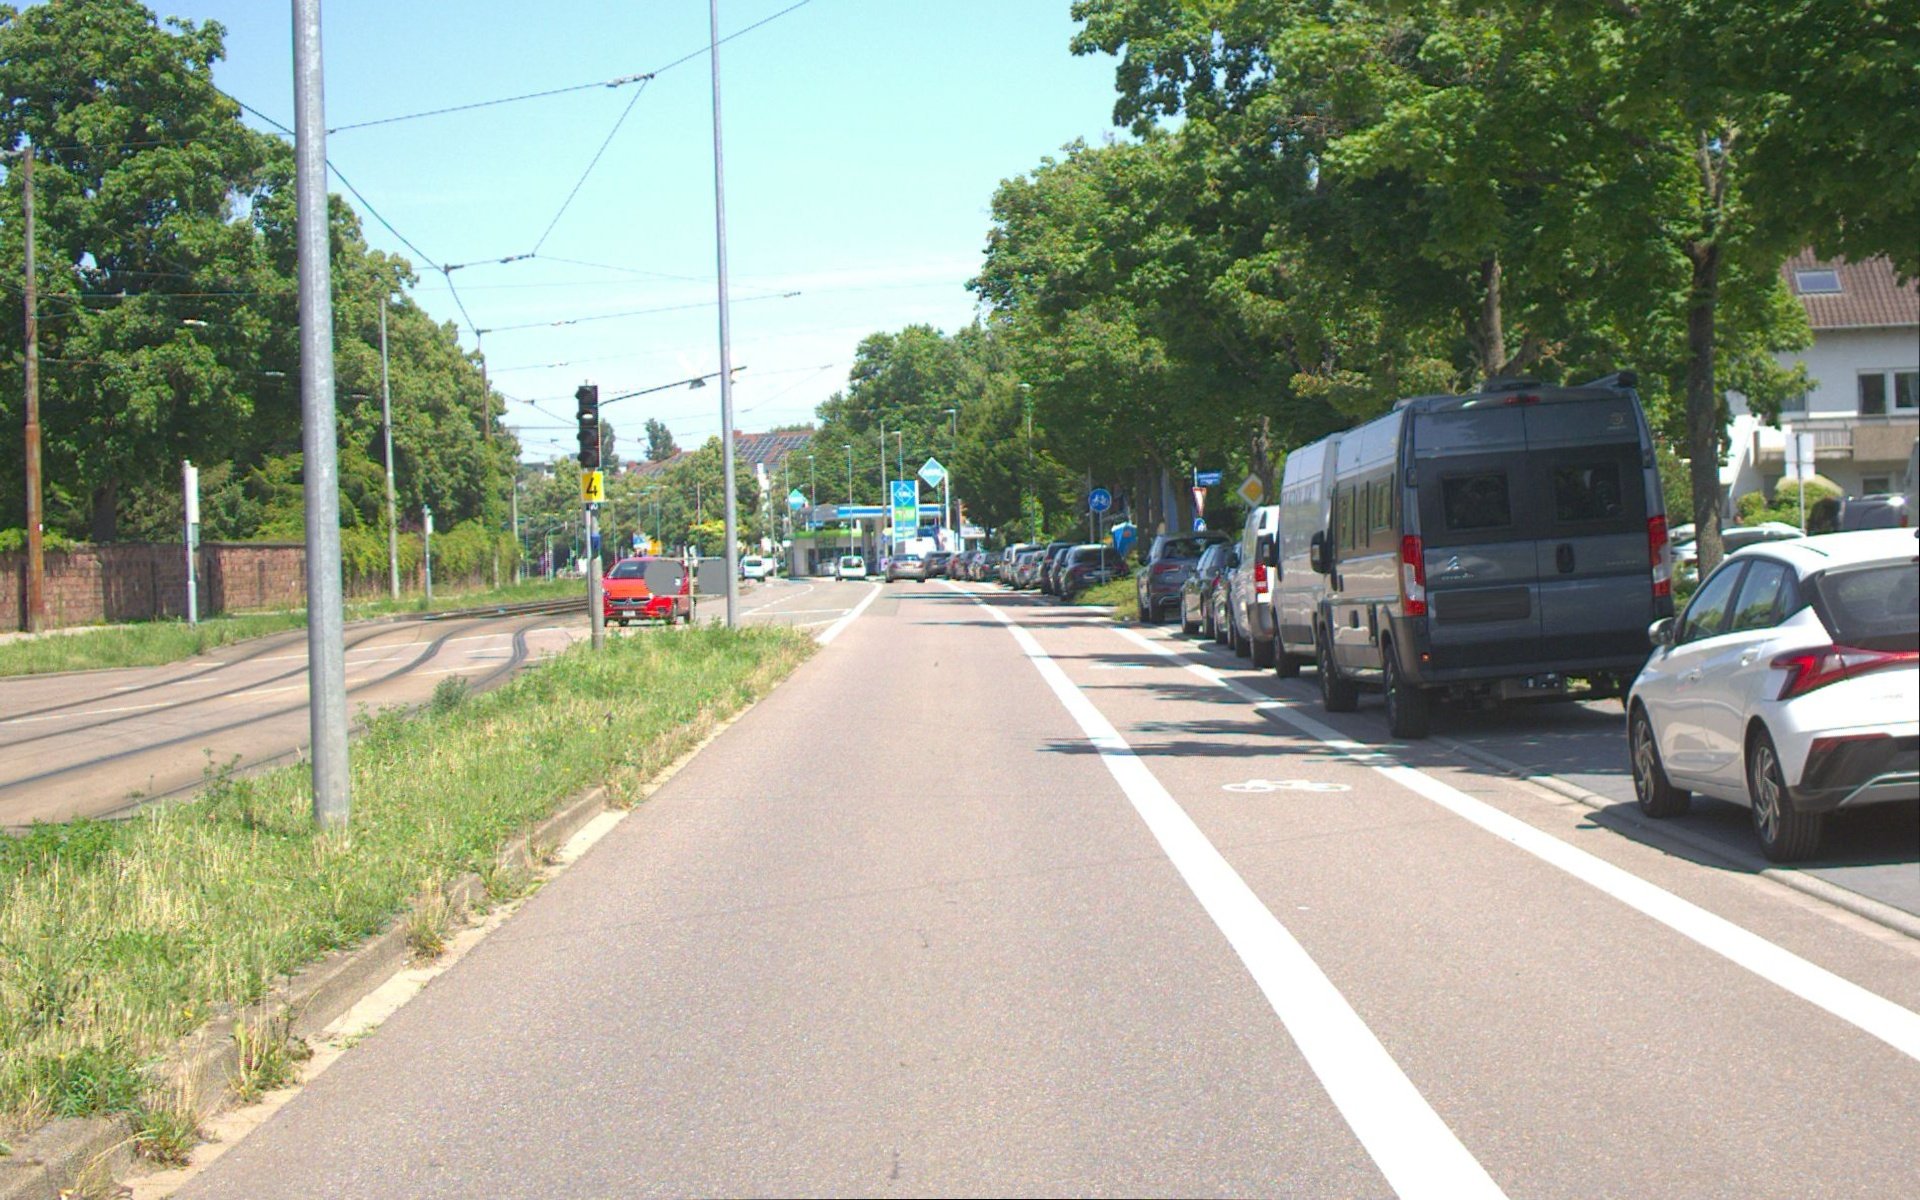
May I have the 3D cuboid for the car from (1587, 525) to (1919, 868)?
[{"bbox_3d":[4.417,0.378,17.129,1.722,1.423,4.209,-4,1,0],"label":"car"}]

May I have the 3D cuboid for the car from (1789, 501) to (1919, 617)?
[{"bbox_3d":[14.708,-0.579,50.261,4.692,1.638,1.954,1,1,0],"label":"car"}]

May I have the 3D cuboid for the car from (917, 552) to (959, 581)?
[{"bbox_3d":[-1.339,-2.008,205.865,1.755,1.625,4.325,-4,1,-10],"label":"car"}]

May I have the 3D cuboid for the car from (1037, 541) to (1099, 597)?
[{"bbox_3d":[3.562,-1.050,113.873,1.841,1.700,4.626,-4,1,1],"label":"car"}]

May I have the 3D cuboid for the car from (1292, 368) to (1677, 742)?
[{"bbox_3d":[4.162,-0.381,28.389,1.997,2.627,6.079,-4,1,-1],"label":"car"}]

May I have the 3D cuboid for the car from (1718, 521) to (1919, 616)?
[{"bbox_3d":[14.492,-0.508,55.623,4.021,1.485,1.770,1,1,-2],"label":"car"}]

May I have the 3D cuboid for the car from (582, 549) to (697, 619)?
[{"bbox_3d":[-6.876,-0.370,74.067,1.706,1.409,4.281,-1,1,5],"label":"car"}]

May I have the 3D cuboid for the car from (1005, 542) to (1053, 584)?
[{"bbox_3d":[3.105,-1.686,155.775,1.840,1.788,4.354,-4,1,-2],"label":"car"}]

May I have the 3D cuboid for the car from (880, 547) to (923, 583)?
[{"bbox_3d":[-2.872,-1.713,168.118,1.755,1.625,4.324,-4,1,-4],"label":"car"}]

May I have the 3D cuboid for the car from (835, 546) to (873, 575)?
[{"bbox_3d":[-6.524,-2.424,211.602,1.755,1.625,4.325,-4,1,-8],"label":"car"}]

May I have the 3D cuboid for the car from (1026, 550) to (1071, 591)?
[{"bbox_3d":[3.479,-1.178,135.793,1.519,1.524,3.817,-4,1,0],"label":"car"}]

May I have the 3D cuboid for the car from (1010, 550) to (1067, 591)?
[{"bbox_3d":[3.184,-1.226,140.800,1.840,1.524,4.966,-4,1,-3],"label":"car"}]

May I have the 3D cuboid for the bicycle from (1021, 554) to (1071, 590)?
[{"bbox_3d":[3.354,-1.085,133.755,1.774,1.224,0.683,-6,0,4],"label":"bicycle"}]

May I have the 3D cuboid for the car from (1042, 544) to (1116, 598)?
[{"bbox_3d":[3.723,-0.928,108.238,1.840,1.524,4.354,-4,1,-3],"label":"car"}]

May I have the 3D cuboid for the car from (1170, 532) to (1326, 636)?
[{"bbox_3d":[4.371,-0.264,52.736,1.712,1.413,4.709,-4,1,-2],"label":"car"}]

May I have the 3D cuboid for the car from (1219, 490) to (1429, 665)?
[{"bbox_3d":[4.367,-0.306,42.030,1.998,1.872,5.276,-4,1,1],"label":"car"}]

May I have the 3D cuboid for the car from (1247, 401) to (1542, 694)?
[{"bbox_3d":[4.337,-0.544,35.325,1.997,2.627,6.143,-4,1,-1],"label":"car"}]

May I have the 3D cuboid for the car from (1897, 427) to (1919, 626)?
[{"bbox_3d":[14.577,-0.877,42.305,5.490,2.451,2.095,1,1,0],"label":"car"}]

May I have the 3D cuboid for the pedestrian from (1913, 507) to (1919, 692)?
[{"bbox_3d":[8.785,-0.005,29.694,0.805,1.619,0.943,-1,1,0],"label":"pedestrian"}]

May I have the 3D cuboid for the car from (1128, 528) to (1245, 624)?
[{"bbox_3d":[4.226,-0.438,64.634,1.712,1.627,4.708,-4,0,-1],"label":"car"}]

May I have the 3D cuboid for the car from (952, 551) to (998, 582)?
[{"bbox_3d":[0.801,-1.845,189.986,1.706,1.557,4.325,-4,1,-10],"label":"car"}]

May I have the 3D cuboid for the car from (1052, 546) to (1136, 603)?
[{"bbox_3d":[3.728,-0.722,96.272,1.840,1.431,4.825,-4,1,-3],"label":"car"}]

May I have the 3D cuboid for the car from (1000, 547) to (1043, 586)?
[{"bbox_3d":[2.882,-1.603,161.960,1.840,1.688,4.778,-4,1,0],"label":"car"}]

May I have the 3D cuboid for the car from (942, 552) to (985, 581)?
[{"bbox_3d":[0.194,-1.896,195.898,1.706,1.557,4.325,-4,1,-8],"label":"car"}]

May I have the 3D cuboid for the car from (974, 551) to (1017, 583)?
[{"bbox_3d":[1.832,-1.727,178.811,1.706,1.487,5.039,-4,1,-5],"label":"car"}]

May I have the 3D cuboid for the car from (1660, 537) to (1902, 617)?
[{"bbox_3d":[14.524,-0.412,60.939,3.860,1.353,1.770,1,1,0],"label":"car"}]
